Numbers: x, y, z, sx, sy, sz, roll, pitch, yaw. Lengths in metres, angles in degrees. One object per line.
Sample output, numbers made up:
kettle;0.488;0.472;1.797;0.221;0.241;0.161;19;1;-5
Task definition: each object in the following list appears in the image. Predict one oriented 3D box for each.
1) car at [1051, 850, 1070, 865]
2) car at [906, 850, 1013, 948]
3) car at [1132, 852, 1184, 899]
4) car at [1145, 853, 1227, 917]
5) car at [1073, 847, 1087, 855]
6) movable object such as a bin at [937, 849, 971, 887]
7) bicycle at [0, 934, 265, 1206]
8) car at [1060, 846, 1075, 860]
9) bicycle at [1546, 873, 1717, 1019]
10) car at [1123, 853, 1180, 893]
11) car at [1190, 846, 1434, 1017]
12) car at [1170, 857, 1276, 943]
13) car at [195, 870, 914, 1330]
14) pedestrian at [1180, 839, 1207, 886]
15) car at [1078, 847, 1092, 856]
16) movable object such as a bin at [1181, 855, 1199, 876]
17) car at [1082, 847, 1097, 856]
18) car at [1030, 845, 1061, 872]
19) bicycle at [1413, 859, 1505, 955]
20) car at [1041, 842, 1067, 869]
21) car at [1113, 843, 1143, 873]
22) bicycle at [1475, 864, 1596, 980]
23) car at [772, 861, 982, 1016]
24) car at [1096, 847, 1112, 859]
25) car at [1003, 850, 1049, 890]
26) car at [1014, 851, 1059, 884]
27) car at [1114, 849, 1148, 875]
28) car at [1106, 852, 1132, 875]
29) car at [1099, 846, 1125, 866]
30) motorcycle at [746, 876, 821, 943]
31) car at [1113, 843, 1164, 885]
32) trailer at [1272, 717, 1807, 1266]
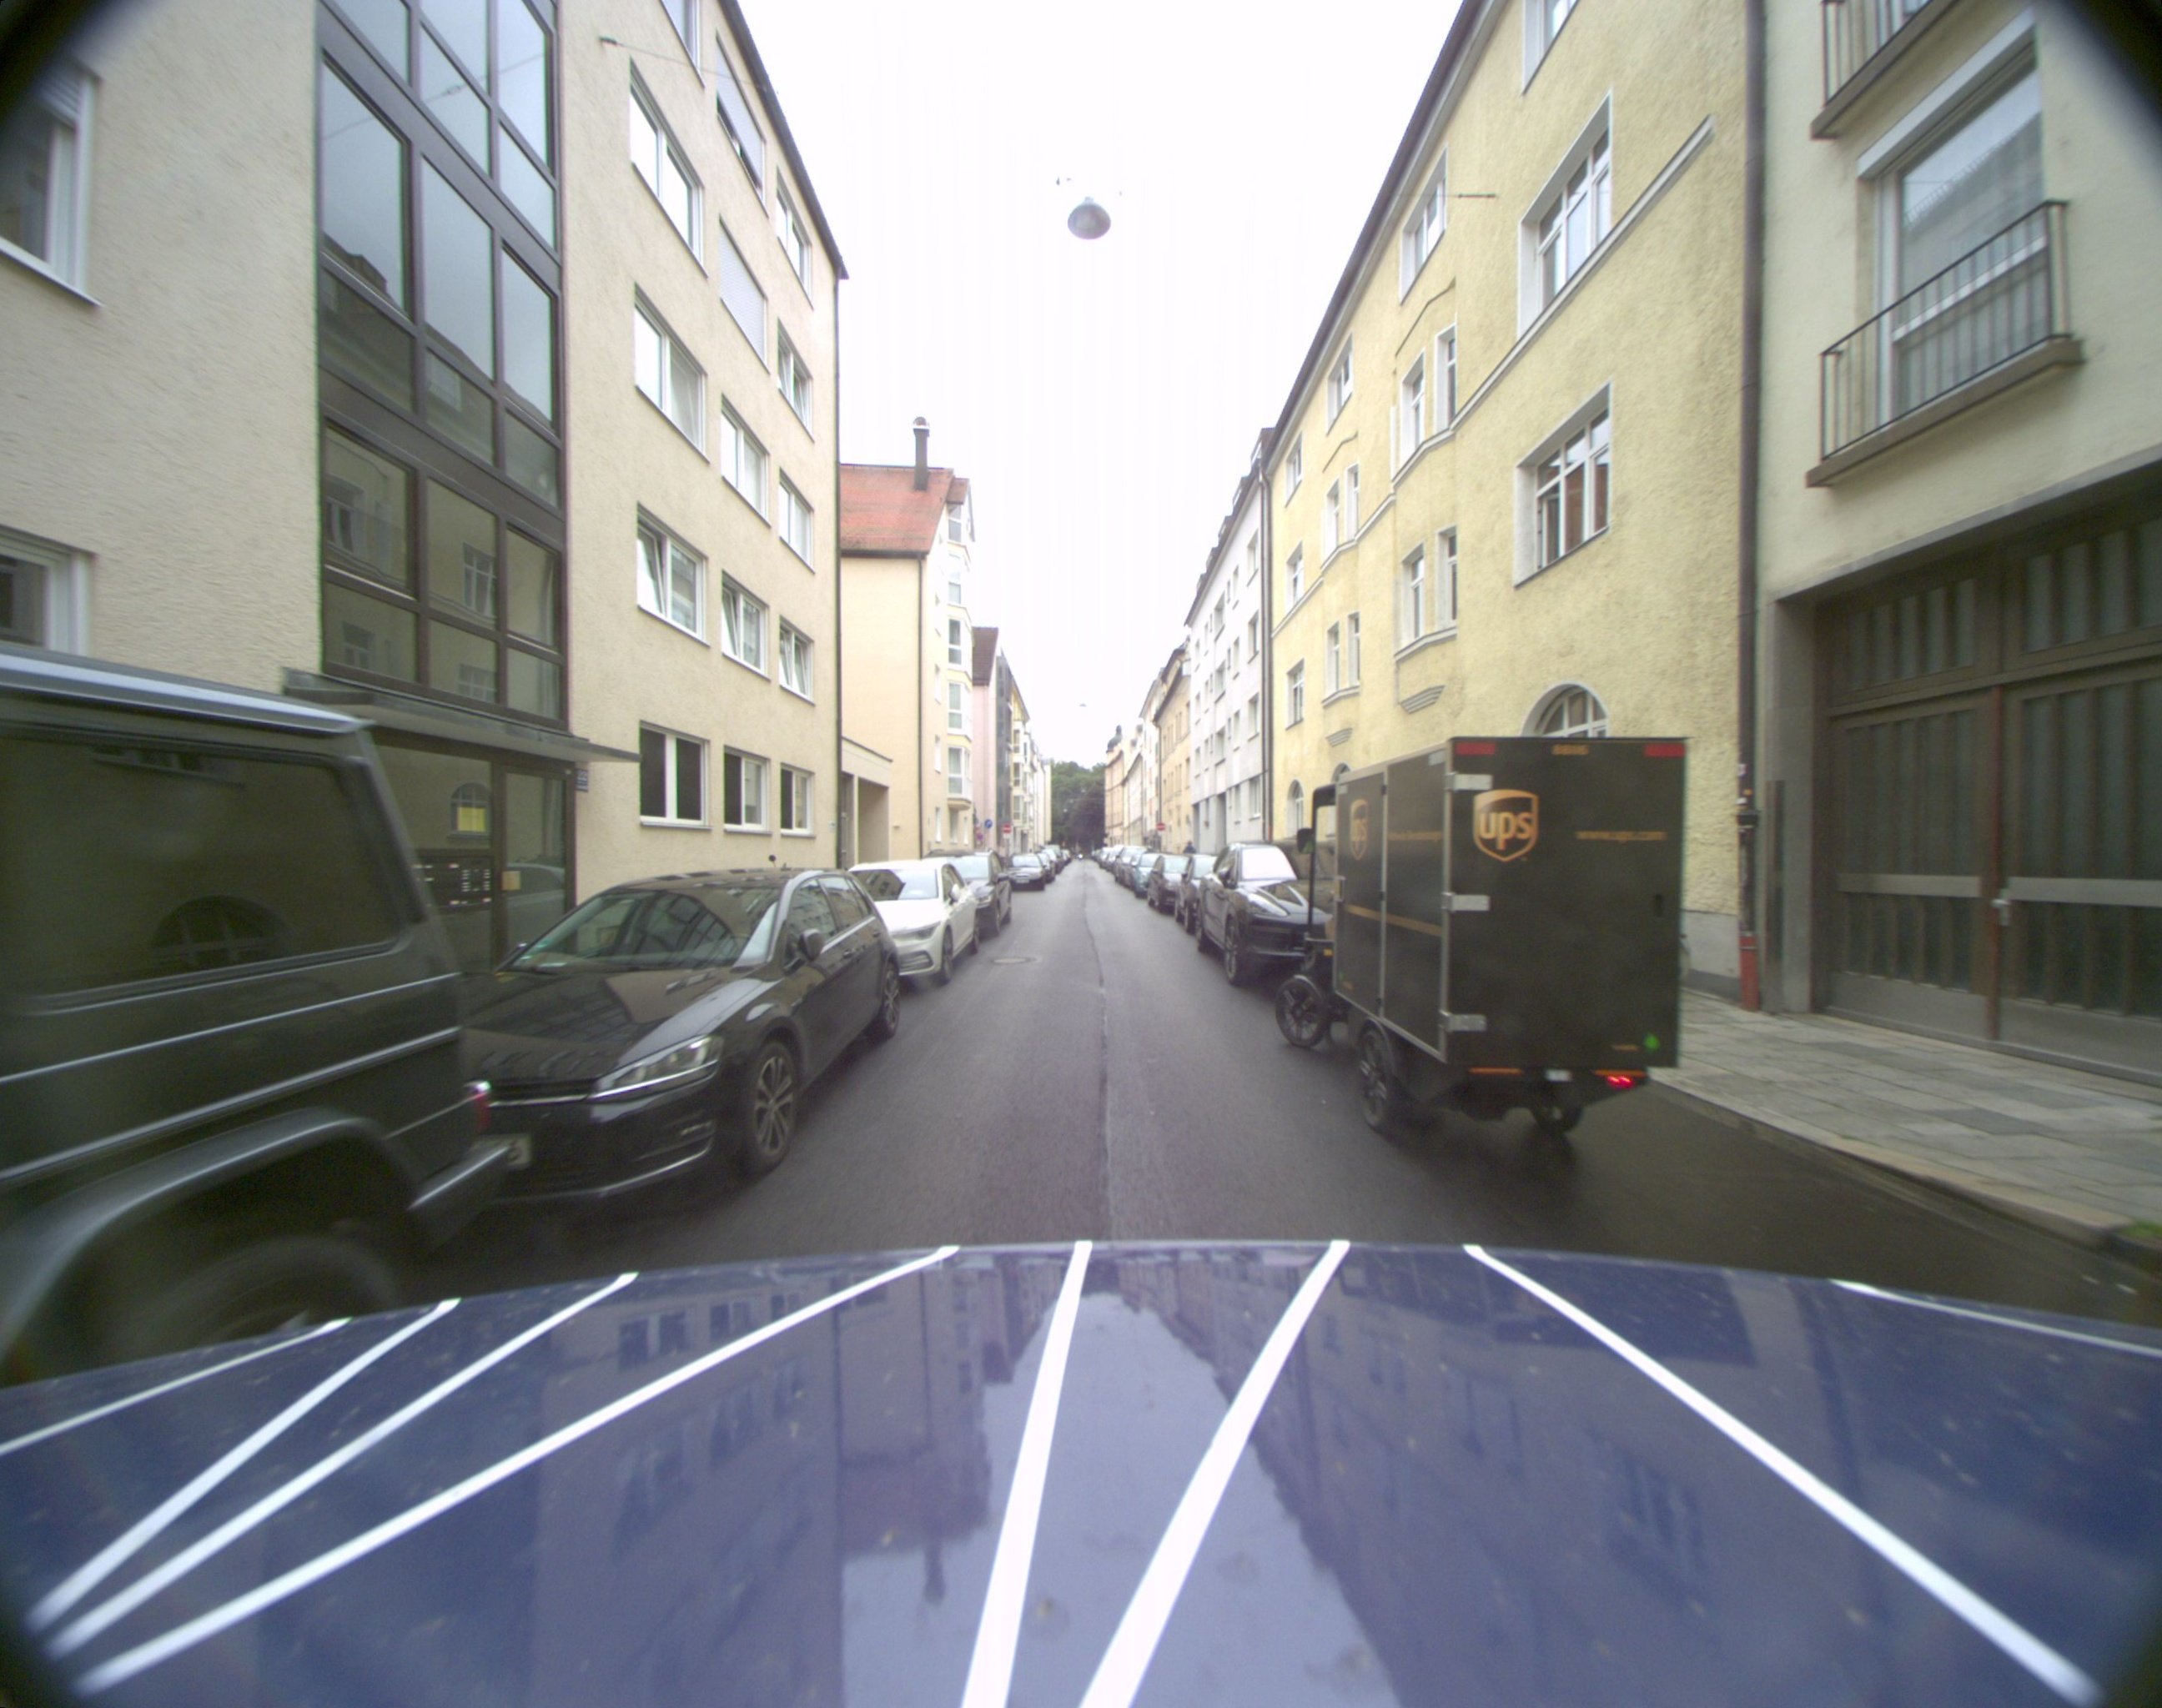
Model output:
car;-2.152;0.349;79.511;1.750;1.433;4.227;-2;1;-4
car;-2.273;0.761;15.171;1.716;1.599;4.241;-2;1;-5
car;2.553;0.669;25.782;1.566;1.452;3.404;0;1;2
car;2.642;0.738;19.878;1.567;1.452;3.763;0;1;-1
car;-0.202;-0.535;140.854;1.800;1.501;3.995;1;1;-11
movable object such as a bin;-4.994;0.528;29.946;1.035;1.415;1.586;2;1;0
bicycle;-5.323;1.066;3.756;0.656;1.100;1.760;3;1;0
car;-1.631;-0.145;94.104;1.739;1.743;3.685;-2;1;0
bicycle;5.613;0.879;7.859;0.595;1.271;1.551;-3;1;-1
car;2.739;0.710;30.549;1.816;1.378;4.249;1;1;-1
car;2.561;0.737;9.624;1.883;1.650;4.414;0;1;2
car;2.701;0.817;15.109;1.566;1.452;3.475;0;1;2
car;-2.374;0.945;4.906;1.716;1.477;4.243;-2;1;-2
pedestrian;4.349;0.319;29.488;0.841;1.754;1.067;-1;1;0
car;0.666;-0.490;136.761;1.800;1.501;3.995;1;1;-11
movable object such as a bin;5.743;0.619;40.075;0.809;1.045;0.622;-4;1;0
car;1.464;-0.405;132.572;1.800;1.501;3.995;1;1;-11
car;-2.297;0.275;50.295;1.837;1.612;4.410;-2;1;-1
bicycle;5.566;0.741;11.278;0.536;1.271;1.551;-3;1;-1
car;-2.147;0.046;60.763;1.878;2.002;5.105;-2;1;0
car;3.027;0.200;49.632;1.728;1.779;4.248;2;2;2
bicycle;5.634;0.793;9.519;0.536;1.271;1.551;-3;1;-1
car;-2.429;0.915;10.152;1.716;1.477;4.243;-2;1;-2
car;2.995;-0.174;99.384;1.951;1.470;3.715;2;1;0
car;-2.187;0.597;31.182;1.721;1.463;4.529;-2;1;-2
car;-2.111;0.613;36.979;1.837;1.398;4.410;-2;1;0
car;2.865;0.456;44.281;1.656;1.403;3.734;1;0;0
car;2.724;0.661;54.703;1.676;1.467;4.111;2;1;1
car;2.626;0.174;64.578;1.786;1.596;4.307;1;0;-3
motorcycle;-5.018;0.902;12.915;0.483;0.962;1.911;3;1;0
car;2.630;0.402;35.717;1.867;1.760;4.734;1;1;-1
trailer;2.169;0.513;4.584;1.358;2.104;3.318;-1;1;3
